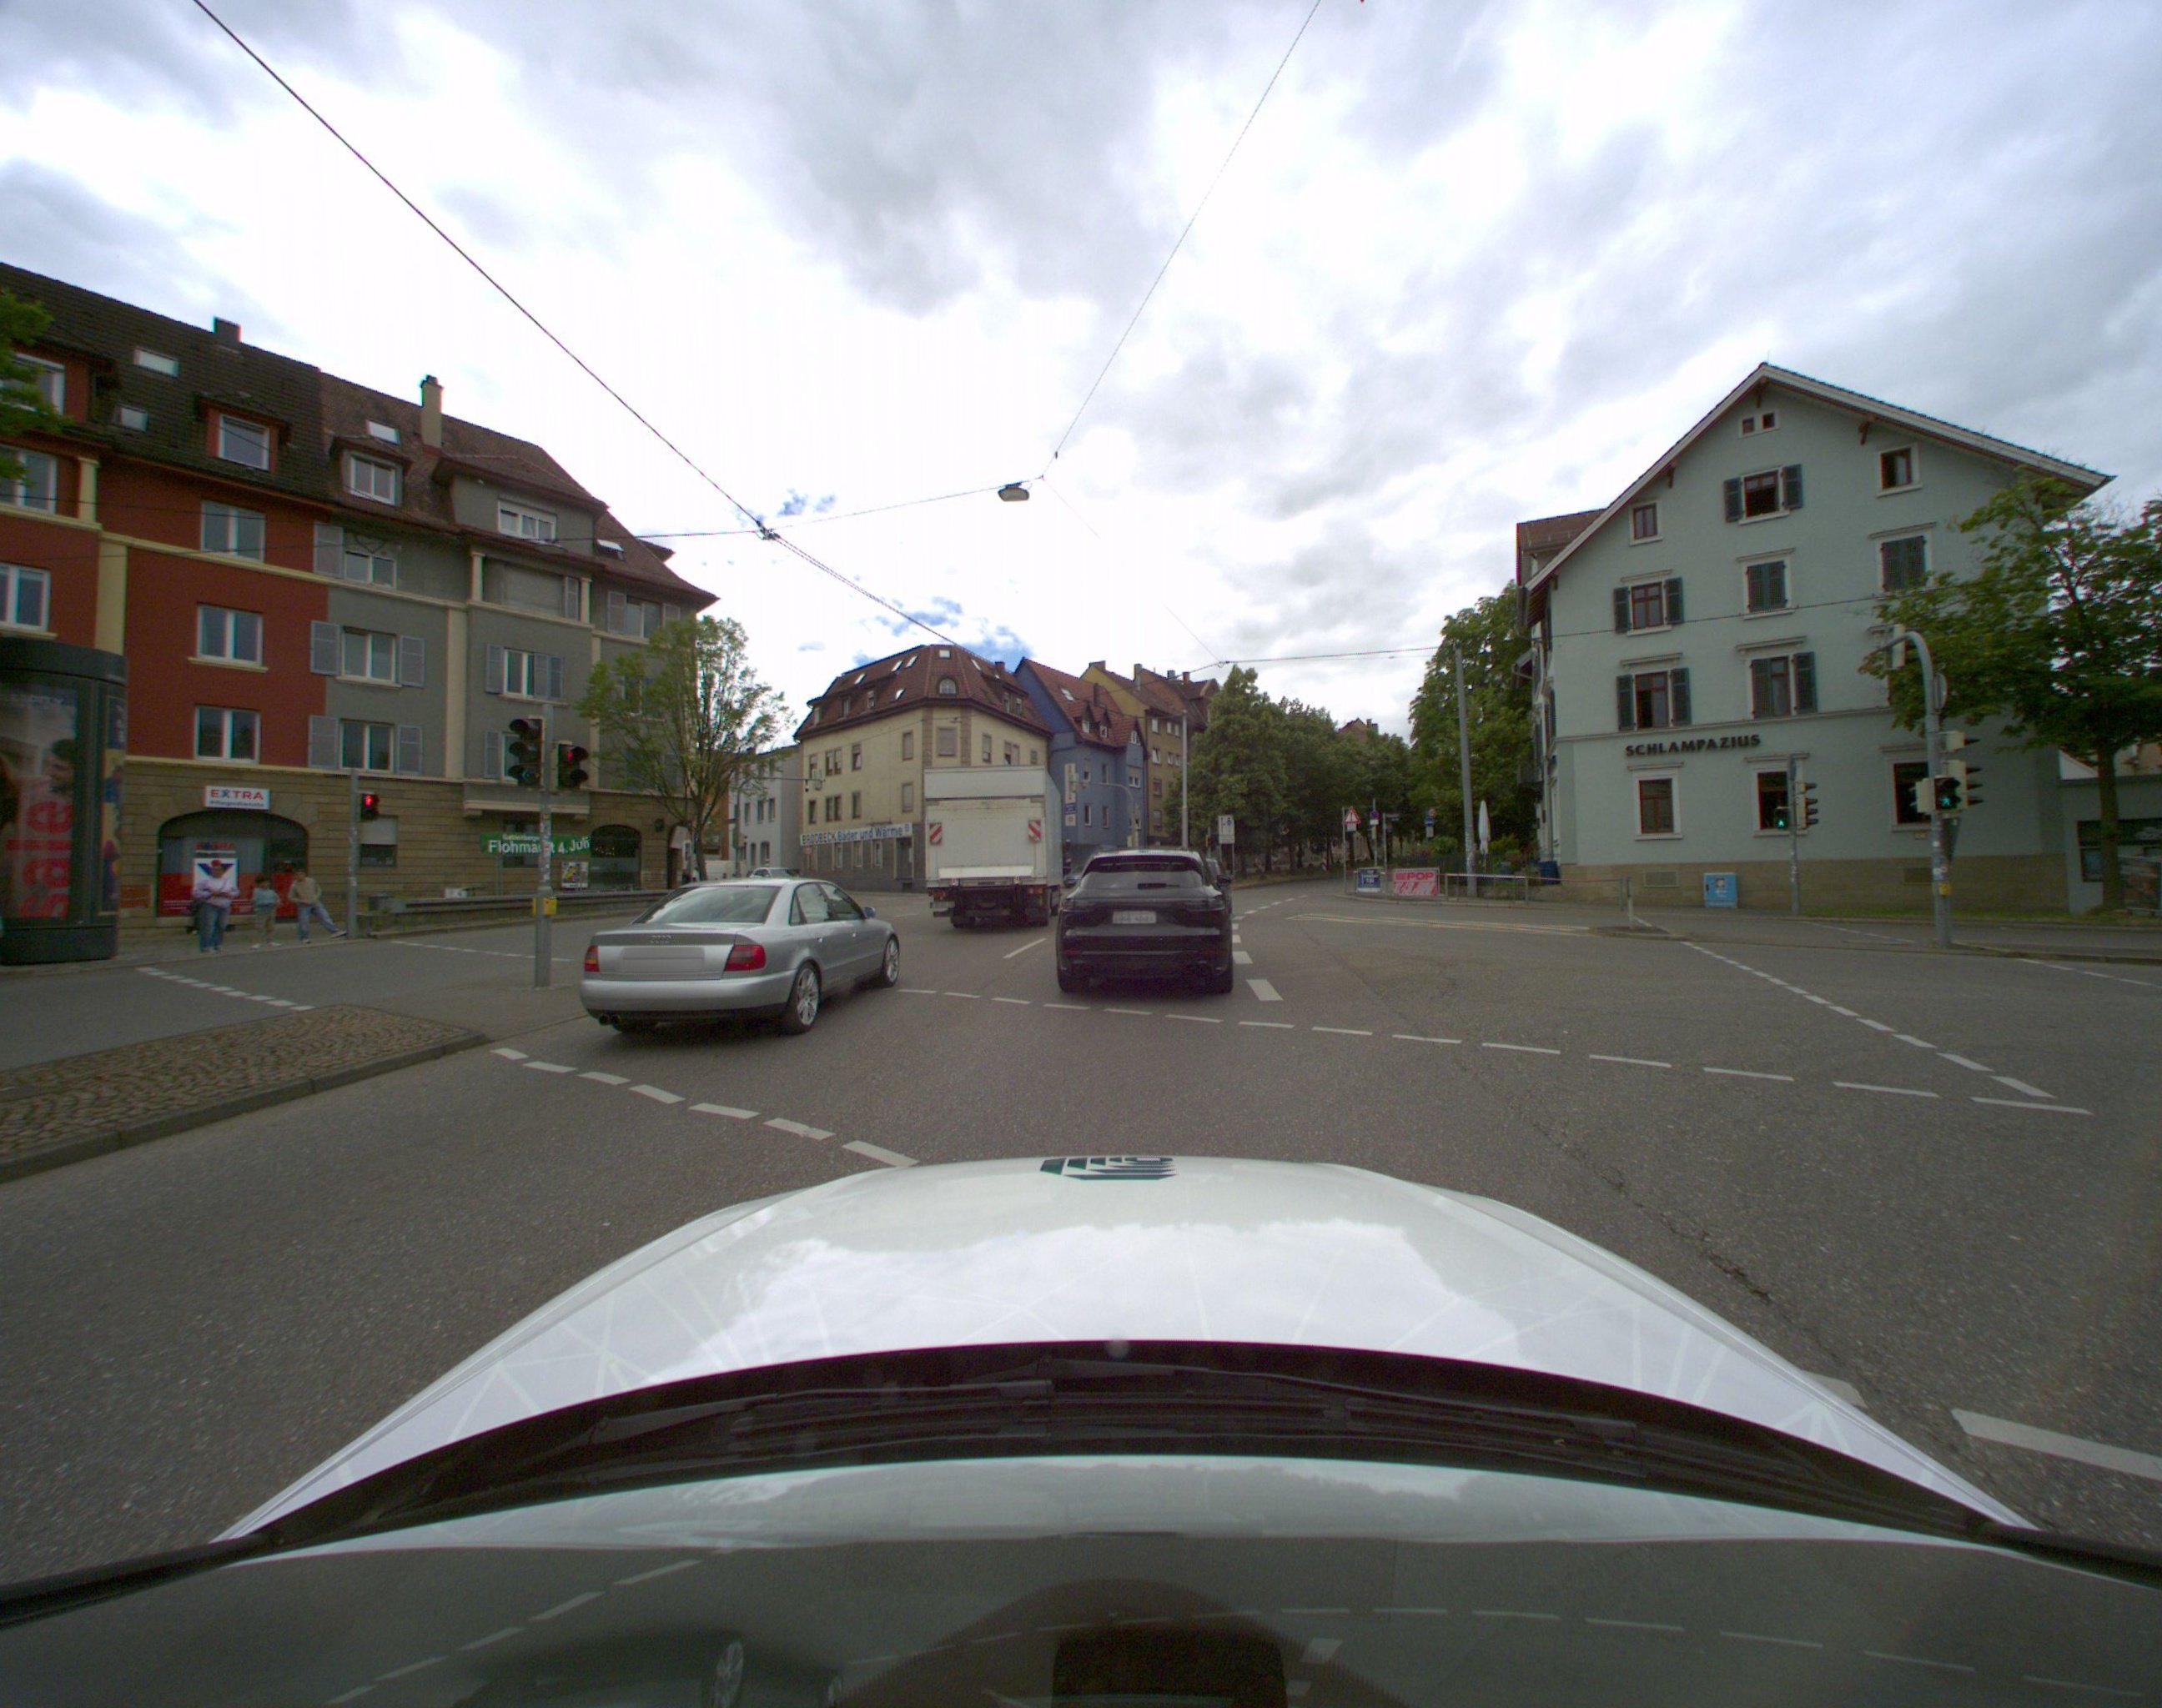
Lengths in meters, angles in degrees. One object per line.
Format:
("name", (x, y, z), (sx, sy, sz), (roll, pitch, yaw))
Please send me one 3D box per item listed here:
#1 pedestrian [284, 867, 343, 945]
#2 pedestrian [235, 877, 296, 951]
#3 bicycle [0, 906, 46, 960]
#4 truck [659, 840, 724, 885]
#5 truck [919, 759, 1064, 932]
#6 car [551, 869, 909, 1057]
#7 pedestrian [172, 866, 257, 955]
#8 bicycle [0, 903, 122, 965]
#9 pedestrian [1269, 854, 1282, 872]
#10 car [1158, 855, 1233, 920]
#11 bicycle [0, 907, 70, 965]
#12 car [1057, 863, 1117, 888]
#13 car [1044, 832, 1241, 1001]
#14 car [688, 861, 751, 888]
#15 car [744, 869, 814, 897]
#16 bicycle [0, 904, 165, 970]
("pedestrian", (-15.104, 1.015, 16.037), (0.518, 1.487, 0.656), (-1, 0, 13))
("pedestrian", (-15.385, 1.116, 15.372), (0.570, 1.338, 0.586), (-1, -1, 13))
("bicycle", (-25.218, 1.821, 17.697), (0.898, 1.202, 3.365), (-1, -1, 7))
("truck", (-30.531, 0.695, 63.775), (5.370, 3.354, 2.715), (0, -2, 43))
("truck", (-1.931, -0.149, 21.010), (2.716, 3.544, 8.420), (-1, 0, 0))
("car", (-3.158, 0.873, 8.359), (1.621, 1.365, 4.132), (1, 0, 4))
("pedestrian", (-15.587, 0.996, 14.659), (0.787, 1.546, 0.741), (-1, 0, 13))
("bicycle", (-23.136, 1.738, 17.495), (0.812, 1.202, 3.365), (-1, -1, 7))
("pedestrian", (21.178, 0.972, 88.648), (1.181, 2.014, 0.995), (-1, -1, 31))
("car", (3.064, 0.828, 21.288), (1.637, 1.556, 3.595), (0, -1, 12))
("bicycle", (-24.167, 1.825, 17.320), (0.898, 1.202, 3.365), (-1, -1, 7))
("car", (0.433, 1.356, 51.889), (1.700, 1.476, 4.245), (-3, -2, 34))
("car", (0.898, 0.649, 10.639), (2.021, 1.723, 4.509), (-1, 0, 7))
("car", (-24.640, 1.385, 55.475), (4.280, 1.799, 2.078), (-1, 0, 36))
("car", (-16.550, 1.589, 44.532), (3.924, 1.470, 1.892), (-2, -2, 40))
("bicycle", (-21.956, 1.746, 17.347), (0.812, 1.202, 3.365), (-1, -1, 7))
